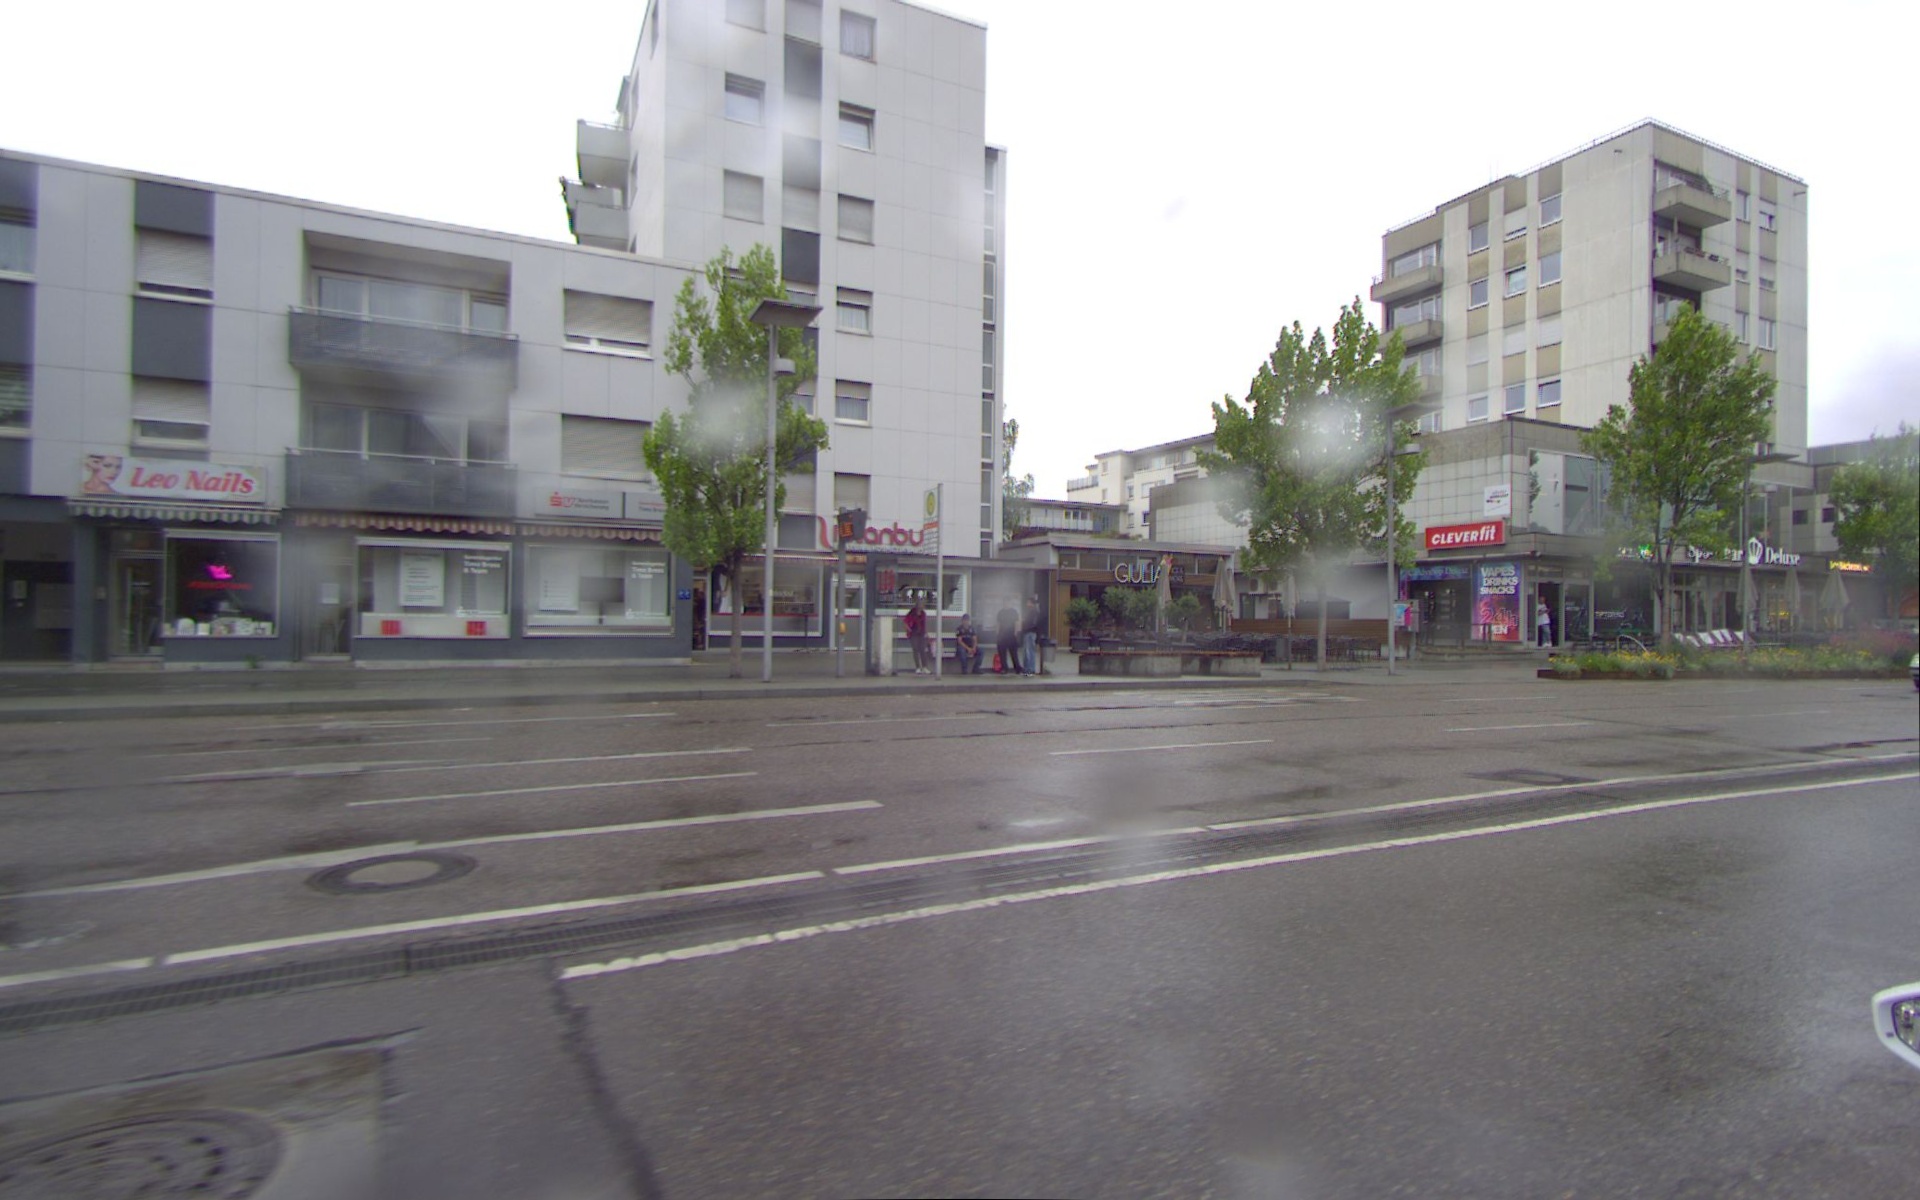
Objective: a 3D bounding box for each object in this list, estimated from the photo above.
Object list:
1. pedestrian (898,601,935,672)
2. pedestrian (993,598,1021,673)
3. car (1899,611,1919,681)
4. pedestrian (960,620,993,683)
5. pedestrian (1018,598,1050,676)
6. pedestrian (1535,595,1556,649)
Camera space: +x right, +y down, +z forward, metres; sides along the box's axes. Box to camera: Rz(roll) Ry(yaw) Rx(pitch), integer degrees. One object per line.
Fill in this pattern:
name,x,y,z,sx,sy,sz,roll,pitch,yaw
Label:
pedestrian,-0.946,0.791,21.973,0.529,1.525,0.612,0,-1,41
pedestrian,1.065,0.797,22.723,0.472,1.681,0.534,1,0,-20
car,22.354,0.981,21.742,4.051,1.485,1.694,1,-2,-27
pedestrian,0.369,1.131,22.307,0.570,1.370,0.534,1,0,-20
pedestrian,1.631,0.812,22.194,0.529,1.681,0.476,1,0,-25
pedestrian,20.633,0.768,35.403,0.493,1.873,0.426,0,0,-16
